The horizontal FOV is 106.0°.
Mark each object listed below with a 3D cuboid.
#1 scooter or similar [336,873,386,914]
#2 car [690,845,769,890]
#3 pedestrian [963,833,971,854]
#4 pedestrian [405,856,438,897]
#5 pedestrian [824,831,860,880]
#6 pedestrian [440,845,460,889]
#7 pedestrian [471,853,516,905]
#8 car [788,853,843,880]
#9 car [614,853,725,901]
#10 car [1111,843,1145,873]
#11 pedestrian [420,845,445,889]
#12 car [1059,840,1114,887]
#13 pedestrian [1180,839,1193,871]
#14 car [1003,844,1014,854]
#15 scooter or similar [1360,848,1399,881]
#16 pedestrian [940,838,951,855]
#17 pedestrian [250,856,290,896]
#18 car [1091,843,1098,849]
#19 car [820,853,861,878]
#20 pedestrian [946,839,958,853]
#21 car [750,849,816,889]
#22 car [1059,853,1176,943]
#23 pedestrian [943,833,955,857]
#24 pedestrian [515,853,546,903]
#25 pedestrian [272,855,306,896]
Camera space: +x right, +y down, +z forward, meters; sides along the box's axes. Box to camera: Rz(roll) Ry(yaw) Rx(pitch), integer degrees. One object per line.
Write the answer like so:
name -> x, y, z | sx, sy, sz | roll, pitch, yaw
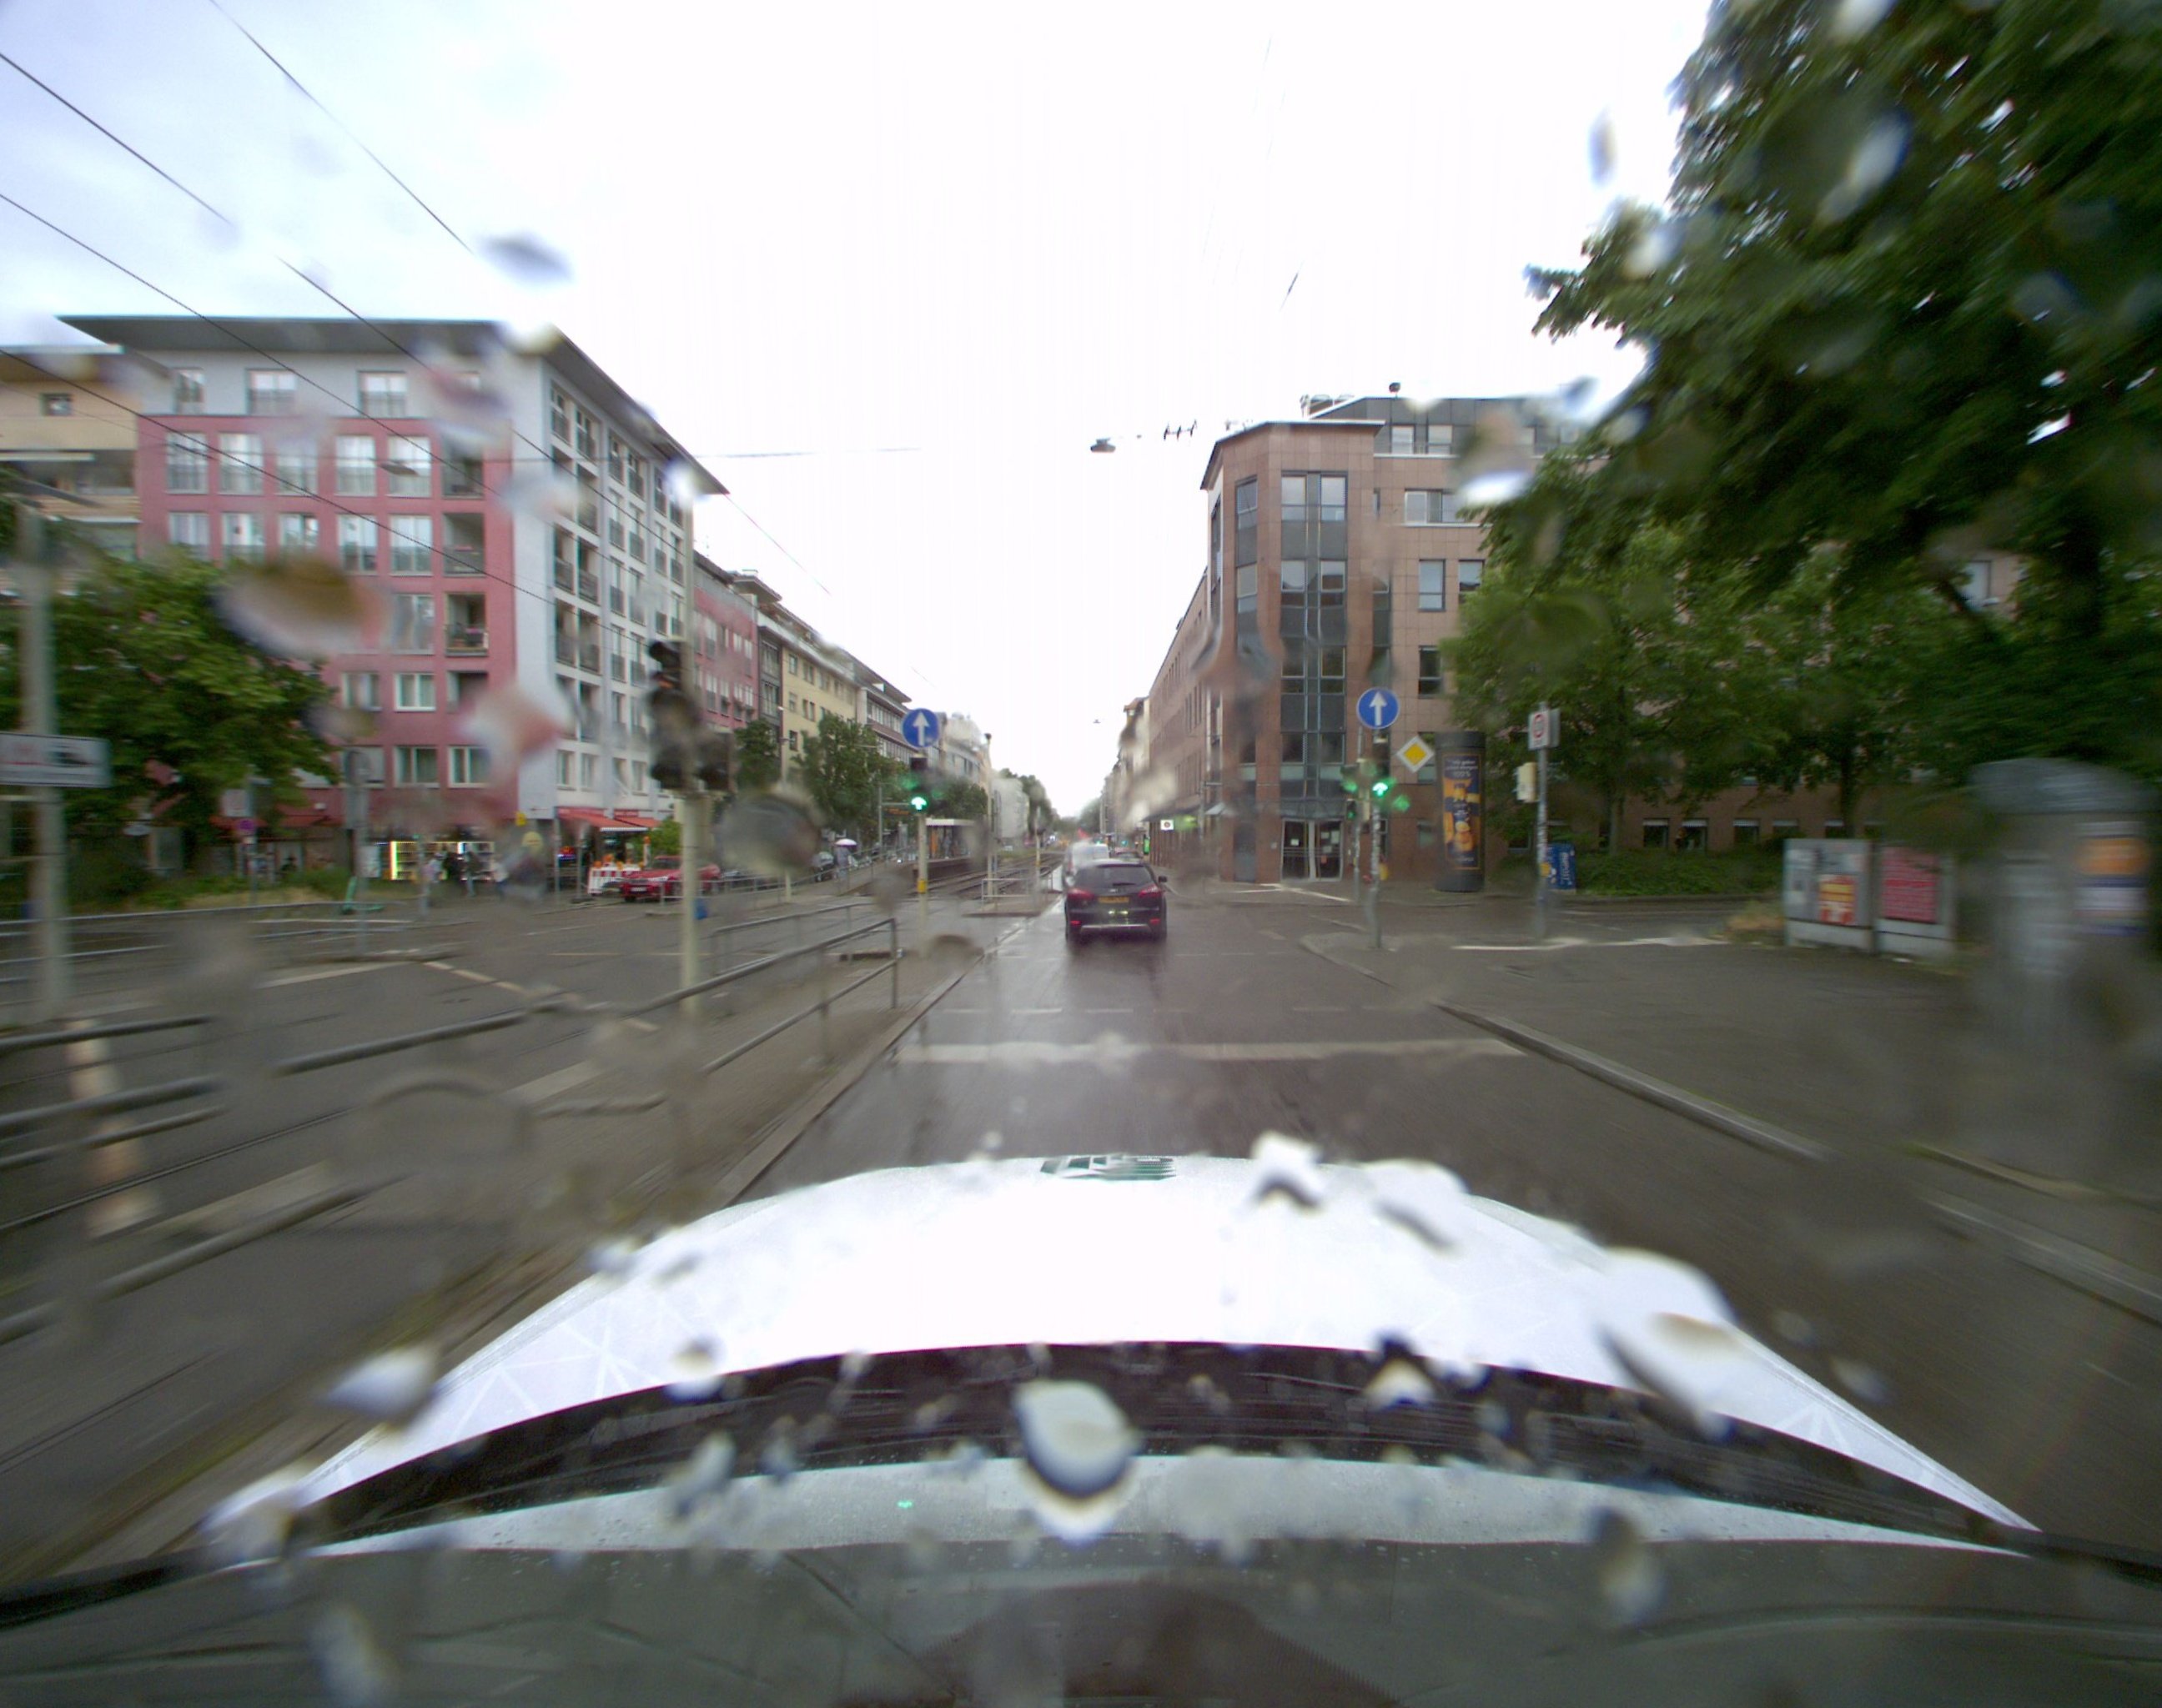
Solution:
scooter or similar -> -21.737, 1.180, 24.618 | 0.388, 1.191, 1.212 | -1, 0, 2
car -> -15.372, 0.536, 35.888 | 1.703, 1.858, 4.317 | -1, 0, -2
pedestrian -> -10.007, -0.937, 71.470 | 0.654, 1.801, 0.849 | -1, 0, -2
pedestrian -> -23.957, 0.800, 29.578 | 0.637, 1.461, 0.656 | 1, 0, -2
pedestrian -> -10.168, 0.074, 34.703 | 1.112, 2.013, 1.383 | -1, 0, 0
pedestrian -> -23.649, 0.469, 30.525 | 0.548, 1.631, 0.568 | 1, 0, -36
pedestrian -> -19.590, 0.812, 27.188 | 0.818, 1.697, 0.983 | 1, 0, -8
car -> -15.100, 0.679, 46.555 | 1.836, 1.436, 4.315 | -1, 0, -3
car -> -15.354, 0.794, 30.681 | 1.720, 1.611, 4.554 | -1, 1, 2
car -> 2.521, 0.209, 44.274 | 1.692, 1.479, 3.868 | -3, 0, 2
pedestrian -> -24.372, 0.480, 30.628 | 0.581, 1.631, 0.606 | 1, 0, -26
car -> 0.149, 0.381, 35.204 | 1.904, 1.864, 4.564 | -1, 0, -6
pedestrian -> 5.530, 0.058, 42.773 | 0.599, 1.659, 0.625 | -1, 0, 0
car -> -14.365, -0.996, 162.230 | 1.902, 1.864, 4.569 | -1, 0, -3
scooter or similar -> 11.327, 0.390, 30.915 | 1.368, 1.227, 0.326 | -1, 0, 3
pedestrian -> -10.022, -0.567, 60.379 | 0.691, 1.249, 0.884 | -1, 0, -2
pedestrian -> -28.250, 0.762, 28.366 | 0.688, 1.383, 0.658 | 1, 0, -2
car -> 3.645, -2.127, 215.159 | 1.900, 1.633, 4.575 | -1, 0, 1
car -> -15.076, 0.678, 51.215 | 1.564, 1.436, 3.975 | -1, 0, -3
pedestrian -> -9.937, -0.610, 62.543 | 0.892, 1.123, 0.847 | -1, 0, -11
car -> -14.788, 0.696, 40.642 | 1.798, 1.858, 4.377 | -1, 0, -2
car -> 0.628, 0.730, 15.119 | 1.900, 1.462, 3.445 | -1, 0, 1
pedestrian -> -9.412, -0.666, 58.111 | 0.654, 1.711, 0.849 | -1, 0, -2
pedestrian -> -18.587, 0.793, 27.524 | 0.811, 1.631, 0.873 | -2, 3, -34
pedestrian -> -28.159, 0.756, 28.967 | 0.558, 1.405, 0.650 | 1, 0, -2
